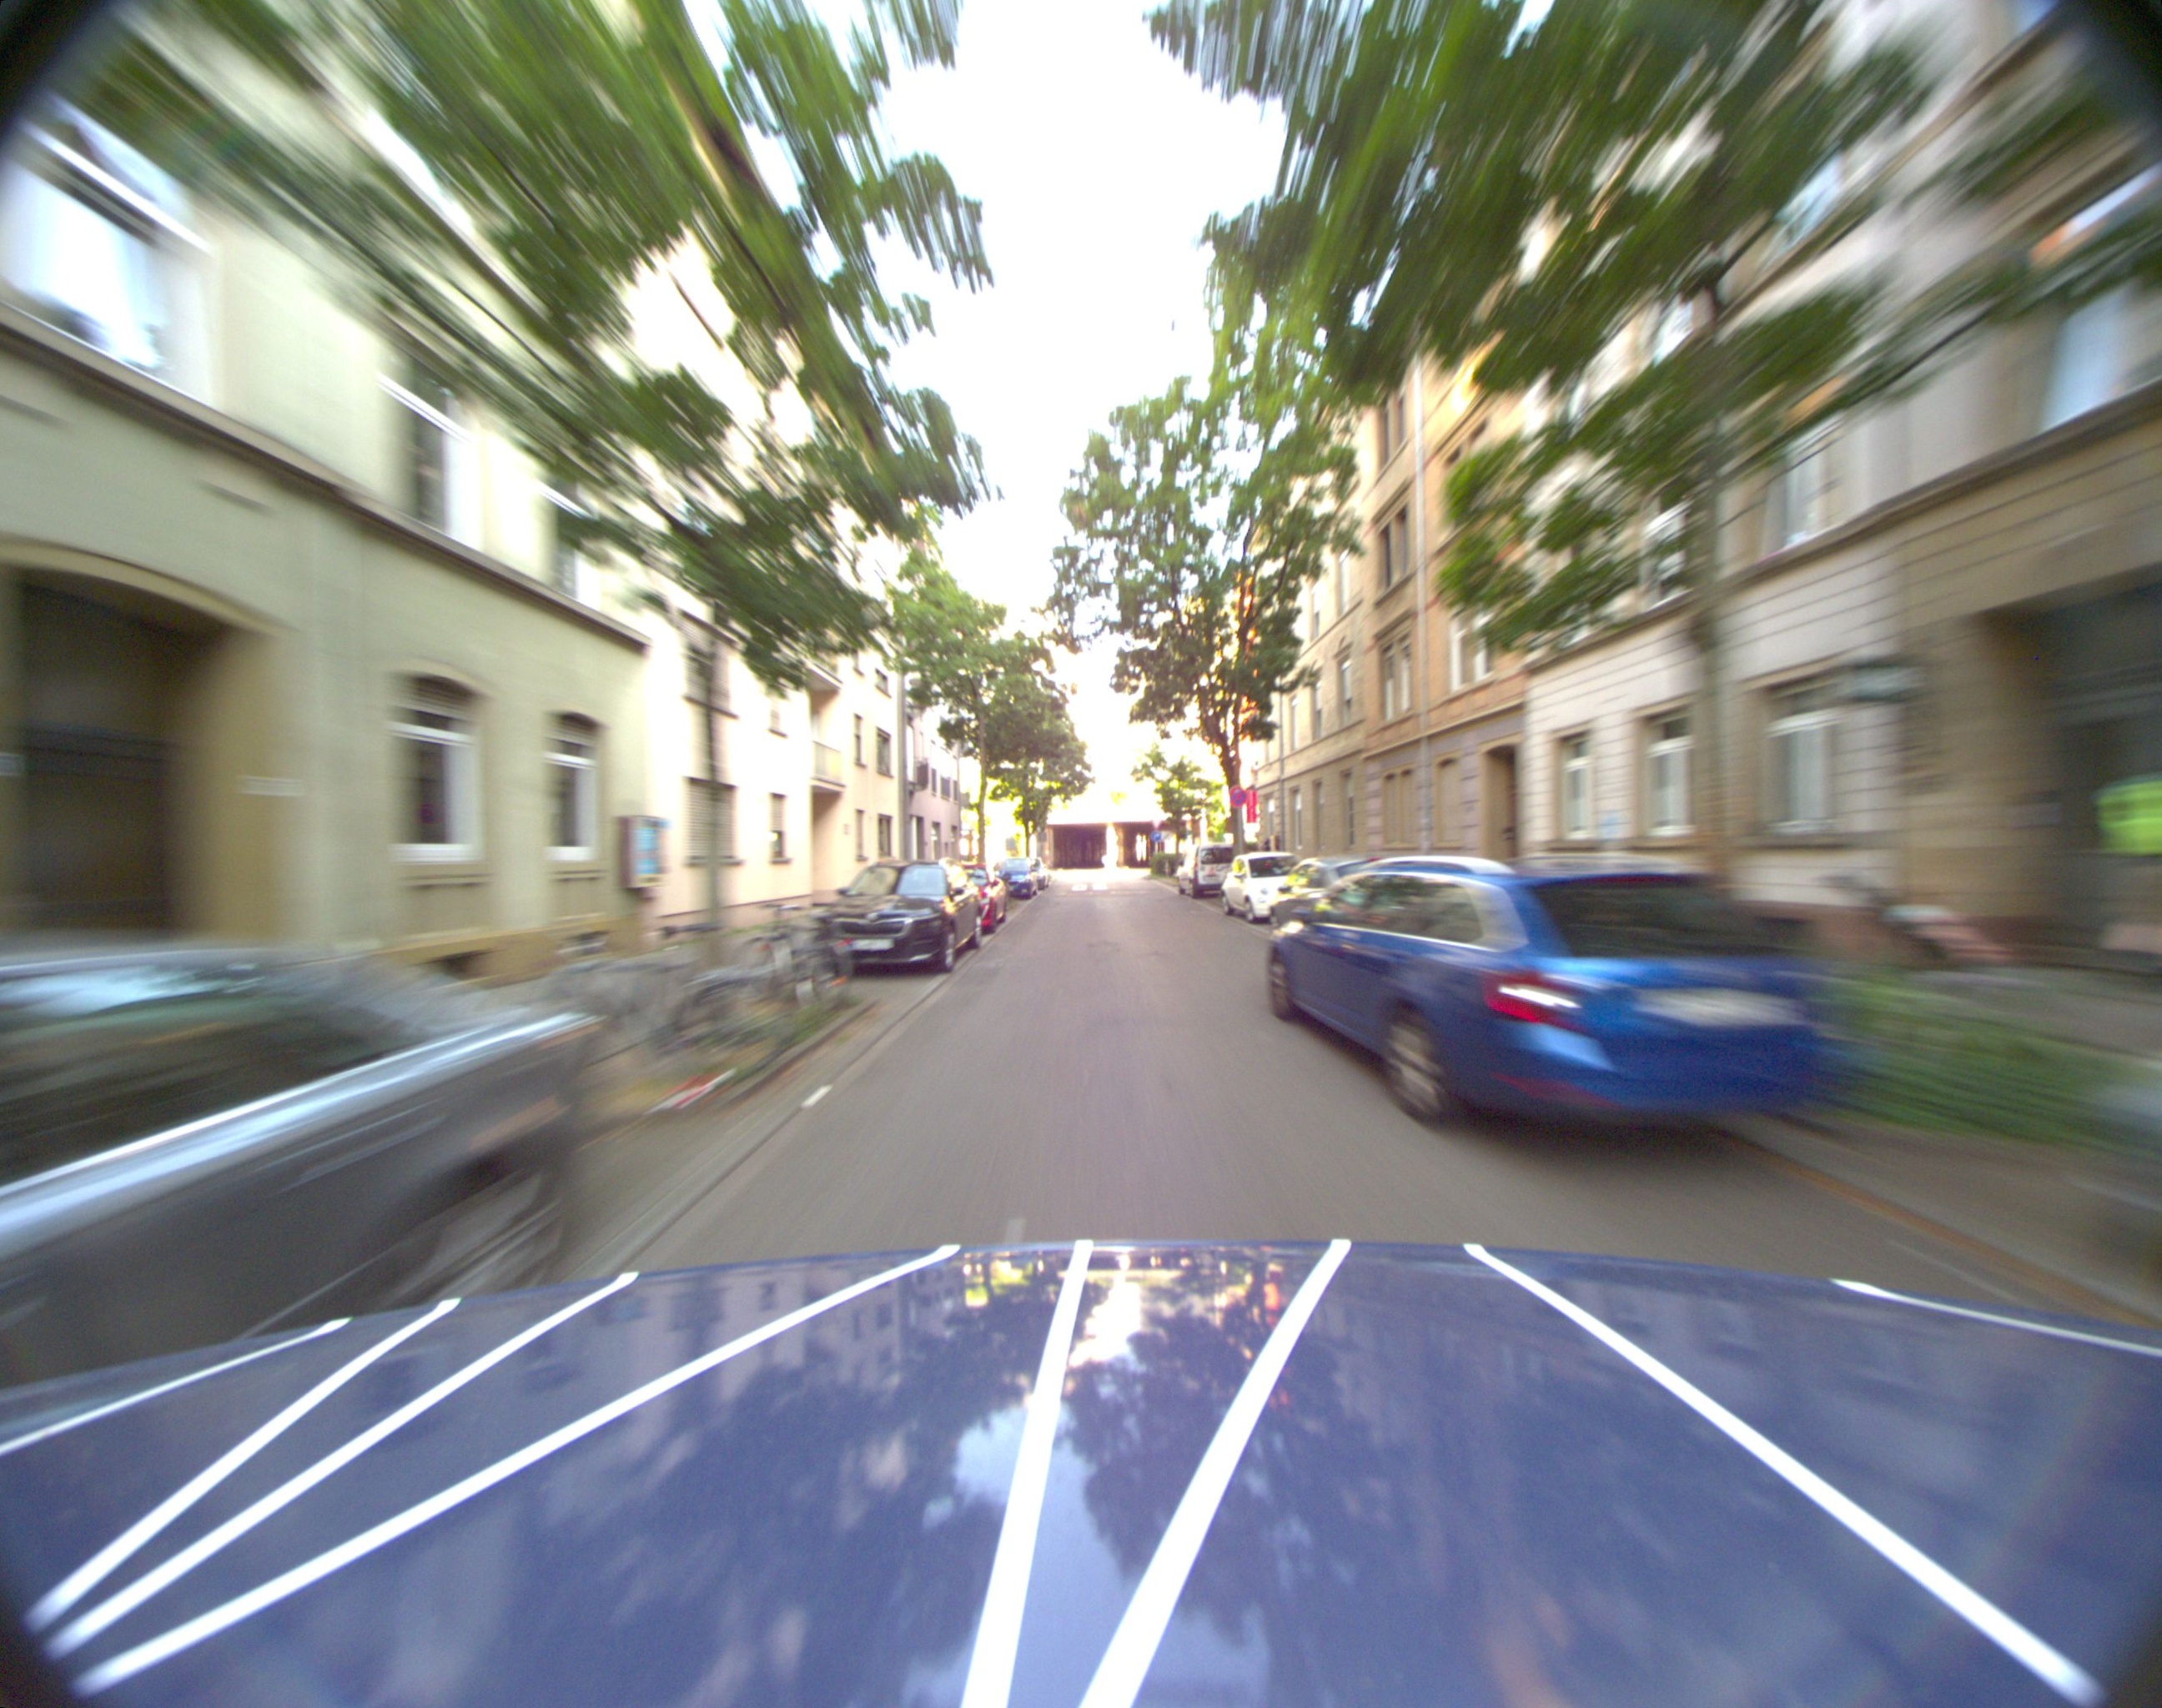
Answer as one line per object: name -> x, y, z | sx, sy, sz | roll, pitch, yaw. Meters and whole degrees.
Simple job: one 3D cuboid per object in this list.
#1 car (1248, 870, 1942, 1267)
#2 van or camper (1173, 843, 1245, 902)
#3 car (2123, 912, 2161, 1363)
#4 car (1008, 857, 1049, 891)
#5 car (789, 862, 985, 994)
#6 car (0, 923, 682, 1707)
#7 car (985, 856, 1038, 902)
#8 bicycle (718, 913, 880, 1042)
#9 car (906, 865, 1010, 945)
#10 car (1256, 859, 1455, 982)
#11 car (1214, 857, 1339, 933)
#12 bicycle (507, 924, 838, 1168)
car -> 2.548, 0.894, 5.182 | 1.665, 1.448, 4.282 | 0, 0, -3
van or camper -> 4.342, 0.573, 26.234 | 1.684, 1.847, 3.756 | -1, 1, -2
car -> 4.203, 0.892, 0.556 | 1.614, 1.431, 3.848 | -2, 0, 1
car -> -2.286, 0.866, 33.977 | 1.656, 1.381, 3.512 | -1, 1, -2
car -> -2.631, 0.926, 11.351 | 1.835, 1.530, 4.123 | 0, 0, 0
car -> -2.882, 1.043, 1.063 | 2.052, 1.395, 4.866 | 0, 0, 0
car -> -2.488, 0.852, 27.844 | 1.656, 1.501, 3.869 | -1, 1, -2
bicycle -> -2.854, 1.176, 7.634 | 1.753, 1.015, 0.642 | 1, 2, 36
car -> -2.535, 1.001, 16.435 | 1.656, 1.431, 3.638 | -1, 1, -1
car -> 3.965, 0.873, 11.663 | 1.756, 1.486, 3.757 | -1, 1, 2
car -> 4.352, 0.847, 17.489 | 1.756, 1.486, 3.756 | -1, 1, -2
bicycle -> -2.554, 1.142, 4.939 | 1.761, 1.217, 0.639 | -1, 2, -27
